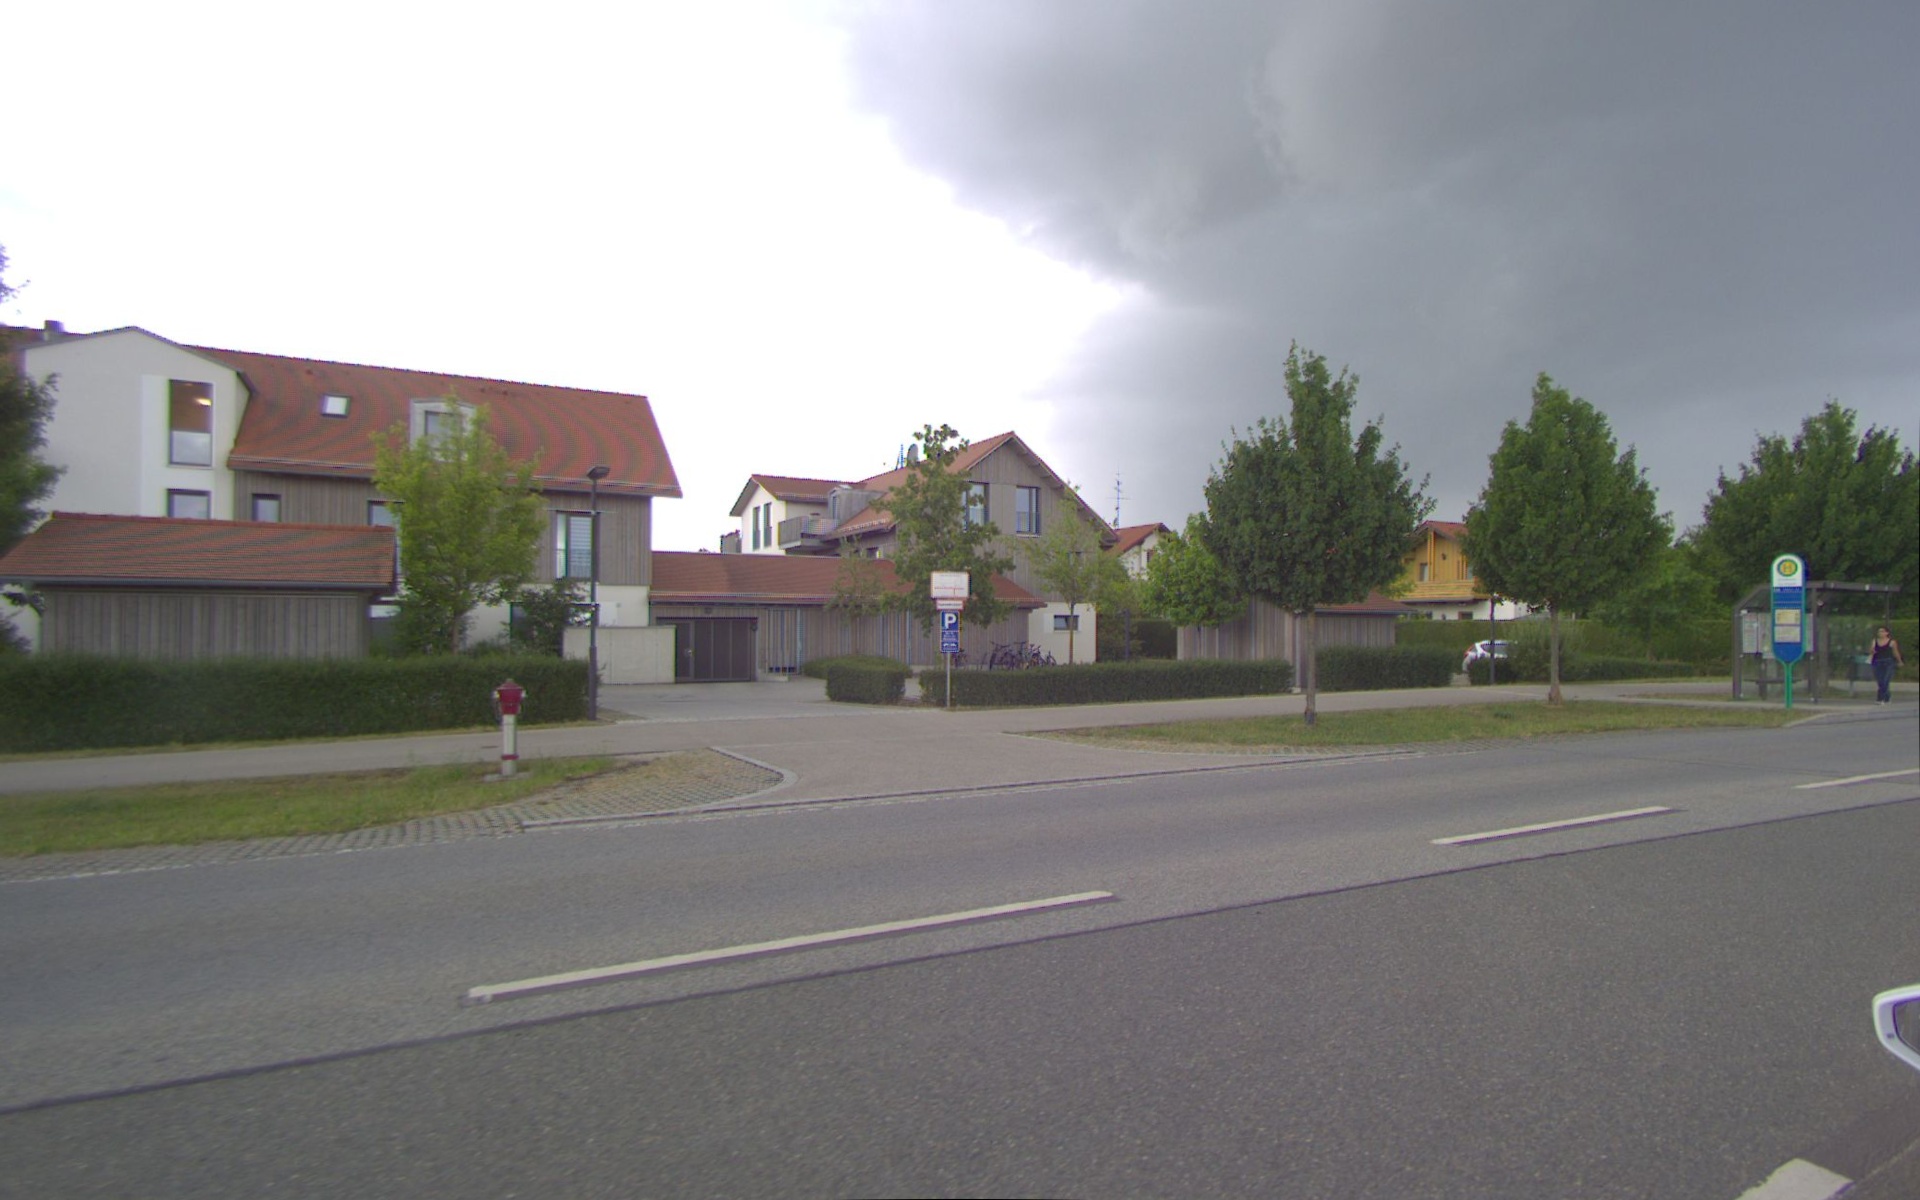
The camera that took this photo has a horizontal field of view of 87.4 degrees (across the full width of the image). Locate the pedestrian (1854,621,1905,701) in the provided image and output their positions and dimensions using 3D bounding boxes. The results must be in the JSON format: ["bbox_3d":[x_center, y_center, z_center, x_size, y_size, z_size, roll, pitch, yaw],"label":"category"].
[{"bbox_3d":[19.539,1.289,21.355,0.803,1.658,0.585,1,-1,-30],"label":"pedestrian"}]

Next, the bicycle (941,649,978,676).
[{"bbox_3d":[-0.030,2.308,37.120,0.414,0.921,1.932,1,-1,-30],"label":"bicycle"}]

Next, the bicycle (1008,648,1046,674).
[{"bbox_3d":[2.568,2.345,38.736,0.414,0.921,1.932,1,-1,-30],"label":"bicycle"}]

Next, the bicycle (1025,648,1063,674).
[{"bbox_3d":[3.249,2.373,39.114,0.414,0.921,1.932,1,-1,-30],"label":"bicycle"}]

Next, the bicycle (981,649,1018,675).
[{"bbox_3d":[1.471,2.327,38.084,0.414,0.921,1.932,1,-1,-30],"label":"bicycle"}]

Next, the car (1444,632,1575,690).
[{"bbox_3d":[20.909,2.255,38.334,1.977,2.040,3.967,1,-1,-31],"label":"car"}]
